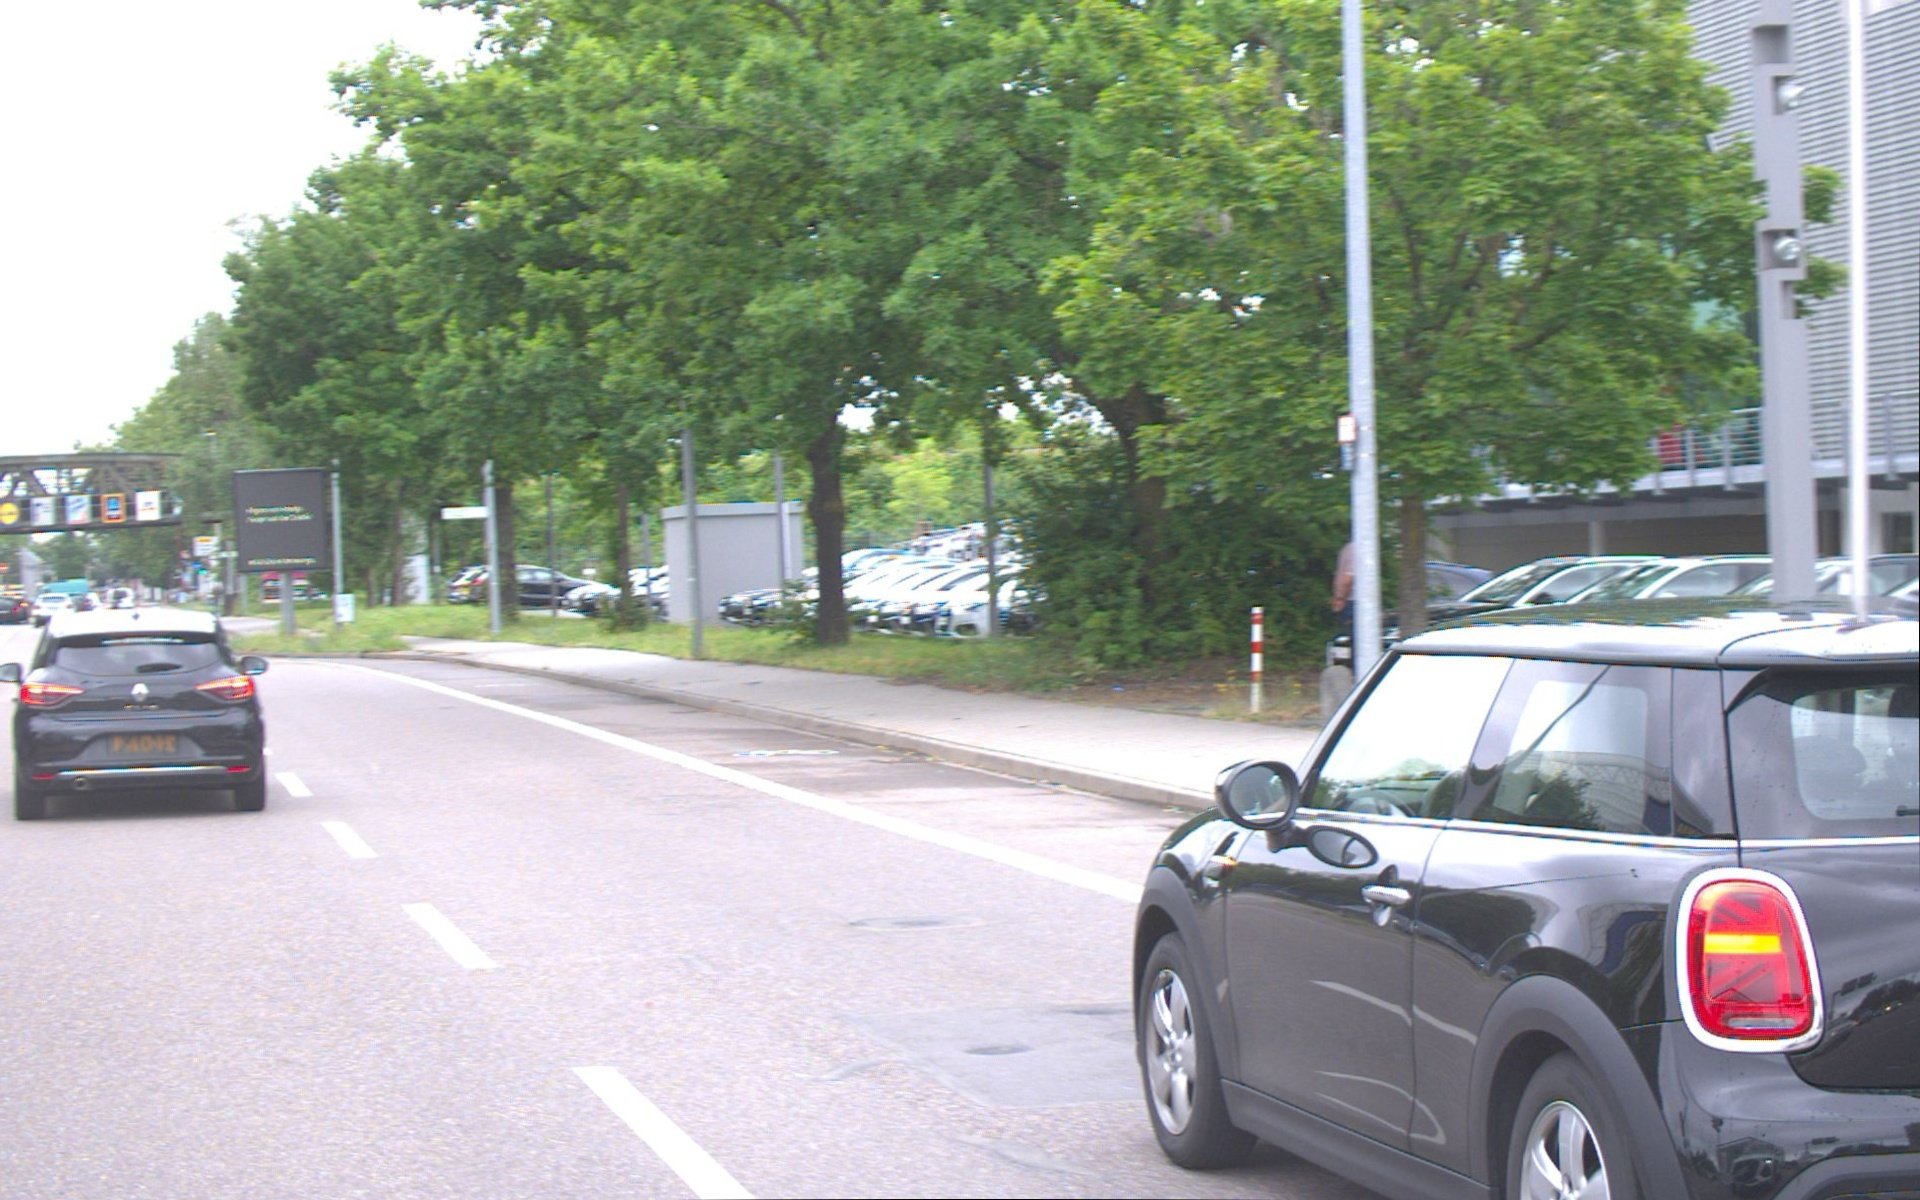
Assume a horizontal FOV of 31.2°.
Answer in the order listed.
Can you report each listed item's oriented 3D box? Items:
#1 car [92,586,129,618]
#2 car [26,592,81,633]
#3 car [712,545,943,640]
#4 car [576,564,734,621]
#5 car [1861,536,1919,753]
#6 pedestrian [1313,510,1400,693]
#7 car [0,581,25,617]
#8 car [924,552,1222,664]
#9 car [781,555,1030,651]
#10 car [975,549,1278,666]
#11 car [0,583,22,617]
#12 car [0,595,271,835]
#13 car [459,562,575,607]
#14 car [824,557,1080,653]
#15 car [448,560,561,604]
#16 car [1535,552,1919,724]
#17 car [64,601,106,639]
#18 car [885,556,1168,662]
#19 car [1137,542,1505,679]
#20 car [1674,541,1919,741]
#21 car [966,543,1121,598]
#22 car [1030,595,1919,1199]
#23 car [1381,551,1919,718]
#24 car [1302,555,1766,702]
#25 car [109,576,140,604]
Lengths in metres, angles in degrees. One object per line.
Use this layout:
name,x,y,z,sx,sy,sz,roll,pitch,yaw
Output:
car,-51.941,0.120,210.246,1.949,1.809,4.002,-1,2,-12
car,-40.647,0.536,154.151,2.135,1.656,3.783,-1,2,-11
car,-2.855,-0.171,73.626,4.548,1.696,2.001,3,1,-12
car,-8.460,-0.218,95.245,4.084,1.431,1.823,-2,2,-15
car,8.616,0.326,23.807,4.175,1.481,1.909,1,0,-14
pedestrian,4.098,0.013,35.580,0.671,1.865,0.719,0,0,-14
car,-53.421,-0.062,192.113,1.949,1.809,4.002,-1,2,-12
car,1.740,0.121,53.533,4.194,1.481,1.960,3,1,-14
car,-1.063,0.047,66.252,4.392,1.515,2.001,3,1,-13
car,2.455,0.108,51.024,4.062,1.481,1.819,3,1,-14
car,-51.788,0.002,185.638,1.884,1.656,3.783,-1,2,-11
car,-5.904,0.756,24.774,1.756,1.429,4.001,-3,2,-11
car,-15.570,-0.542,120.916,3.986,1.431,1.731,-1,2,-7
car,-0.162,0.075,61.147,4.174,1.451,1.934,3,1,-12
car,-16.311,-0.658,123.161,3.986,1.431,1.731,-1,2,-7
car,7.217,0.320,29.275,4.153,1.386,1.903,1,0,-14
car,-46.235,1.056,181.733,1.949,1.809,4.002,-1,2,-12
car,1.056,0.141,56.000,4.180,1.481,1.978,3,1,-13
car,4.521,0.125,43.275,4.121,1.389,1.872,4,1,-14
car,7.962,0.316,26.612,4.364,1.465,1.895,1,0,-14
car,2.388,-0.863,98.356,4.084,1.431,1.731,-2,2,-15
car,1.546,0.732,7.600,1.785,1.411,3.644,-2,-1,-15
car,6.429,0.302,31.855,4.647,1.467,1.848,0,1,-14
car,5.751,0.267,34.608,4.203,1.416,1.856,0,1,-14
car,-58.550,-0.721,240.961,1.949,1.809,4.002,-1,2,-12
